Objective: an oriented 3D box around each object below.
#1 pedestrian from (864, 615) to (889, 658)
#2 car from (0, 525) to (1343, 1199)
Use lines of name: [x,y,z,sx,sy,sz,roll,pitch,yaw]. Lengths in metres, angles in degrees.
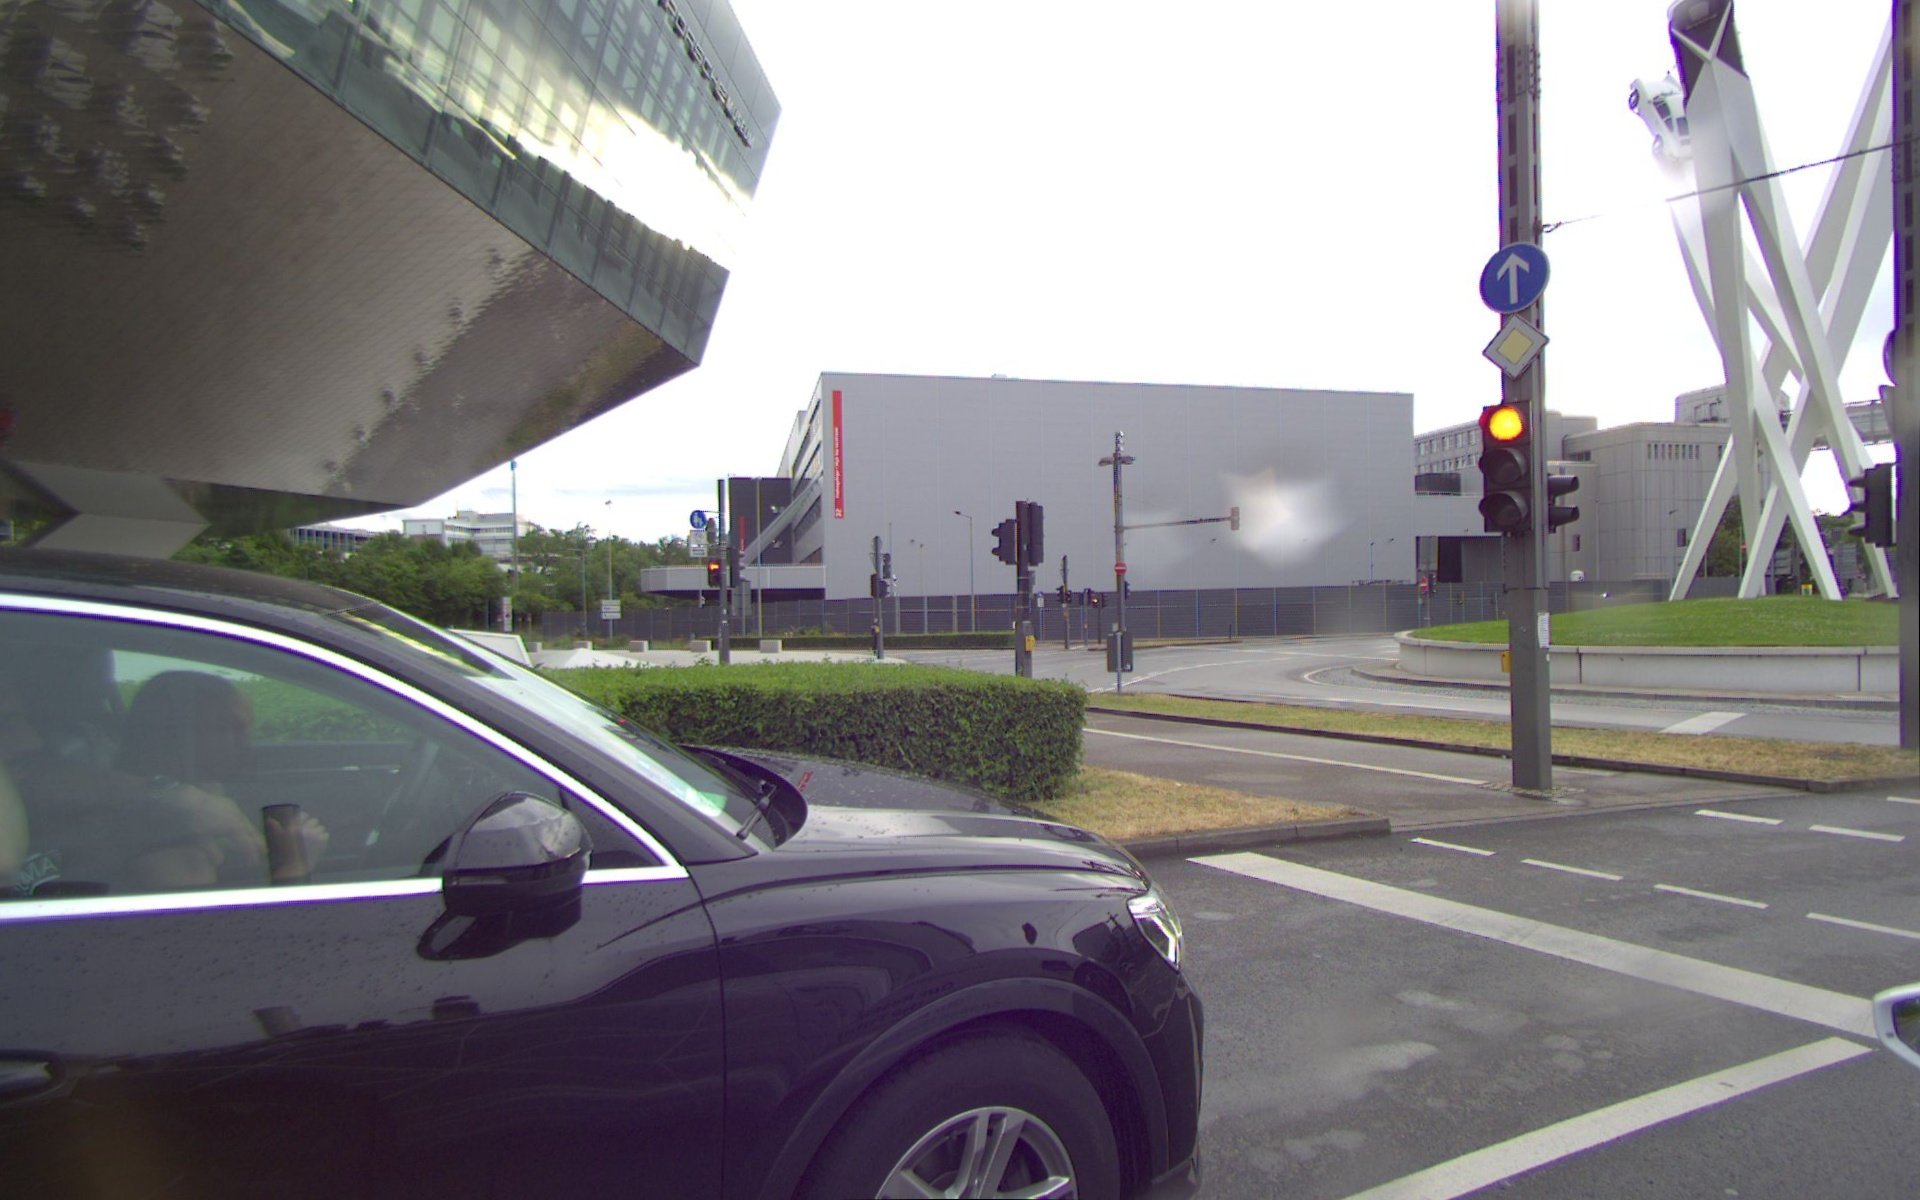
pedestrian: [-3.581,1.558,43.045,0.638,1.827,0.851,0,0,35]
car: [-1.486,0.685,1.800,4.344,1.538,1.743,2,0,-31]
